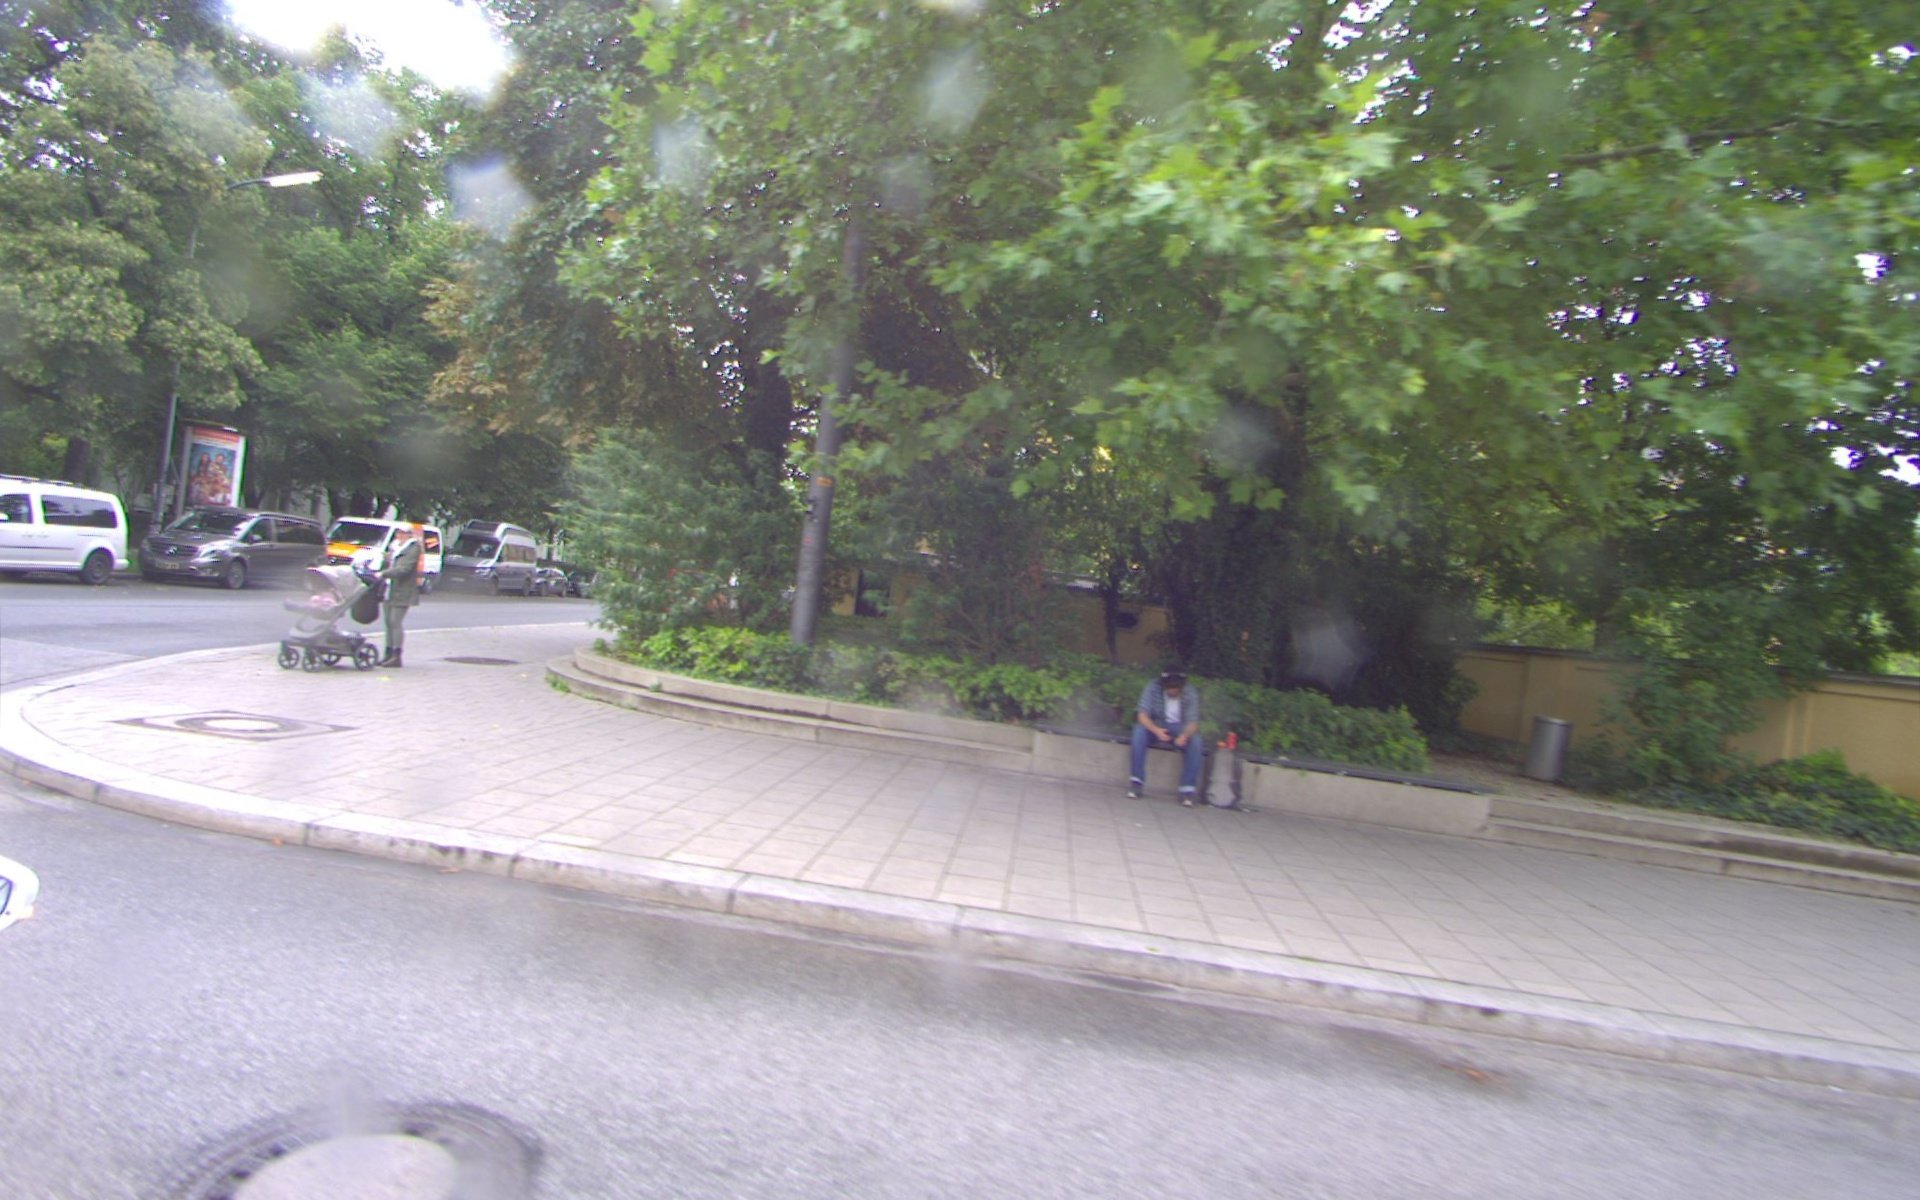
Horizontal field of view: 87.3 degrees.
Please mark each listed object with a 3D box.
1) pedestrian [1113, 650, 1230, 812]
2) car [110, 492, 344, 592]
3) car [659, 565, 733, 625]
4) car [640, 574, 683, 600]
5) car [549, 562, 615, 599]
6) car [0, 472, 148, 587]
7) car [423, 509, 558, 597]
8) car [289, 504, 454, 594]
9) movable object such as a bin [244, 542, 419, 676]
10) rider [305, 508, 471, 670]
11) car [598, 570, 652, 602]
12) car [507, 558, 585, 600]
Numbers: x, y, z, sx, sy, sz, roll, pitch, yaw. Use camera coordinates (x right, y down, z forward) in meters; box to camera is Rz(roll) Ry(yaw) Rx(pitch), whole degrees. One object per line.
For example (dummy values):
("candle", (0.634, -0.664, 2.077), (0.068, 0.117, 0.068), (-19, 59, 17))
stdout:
("pedestrian", (1.807, 1.097, 8.726), (0.799, 1.203, 0.920), (7, 0, 9))
("car", (-17.807, -1.298, 24.835), (2.034, 1.881, 4.985), (7, -1, -2))
("car", (-10.146, -0.185, 38.993), (2.013, 1.946, 4.440), (7, 0, -7))
("car", (-21.370, -0.896, 72.134), (1.867, 1.590, 4.073), (7, -1, -3))
("car", (-19.579, -0.981, 52.276), (1.867, 1.556, 4.073), (7, -1, -3))
("car", (-17.545, -1.369, 18.109), (1.897, 1.917, 4.866), (7, -1, -3))
("car", (-19.043, -1.775, 41.289), (2.300, 2.957, 6.577), (7, 0, -2))
("car", (-18.476, -1.506, 31.954), (2.079, 2.278, 5.194), (7, -1, -2))
("movable object such as a bin", (-6.700, 0.100, 10.786), (1.061, 1.283, 1.087), (5, 0, 11))
("rider", (-6.533, -0.110, 11.551), (1.065, 1.688, 1.140), (5, 0, 11))
("car", (-20.200, -0.824, 60.829), (1.867, 1.590, 4.073), (7, -1, -3))
("car", (-19.419, -0.951, 47.364), (1.867, 1.590, 4.308), (7, -1, -3))
